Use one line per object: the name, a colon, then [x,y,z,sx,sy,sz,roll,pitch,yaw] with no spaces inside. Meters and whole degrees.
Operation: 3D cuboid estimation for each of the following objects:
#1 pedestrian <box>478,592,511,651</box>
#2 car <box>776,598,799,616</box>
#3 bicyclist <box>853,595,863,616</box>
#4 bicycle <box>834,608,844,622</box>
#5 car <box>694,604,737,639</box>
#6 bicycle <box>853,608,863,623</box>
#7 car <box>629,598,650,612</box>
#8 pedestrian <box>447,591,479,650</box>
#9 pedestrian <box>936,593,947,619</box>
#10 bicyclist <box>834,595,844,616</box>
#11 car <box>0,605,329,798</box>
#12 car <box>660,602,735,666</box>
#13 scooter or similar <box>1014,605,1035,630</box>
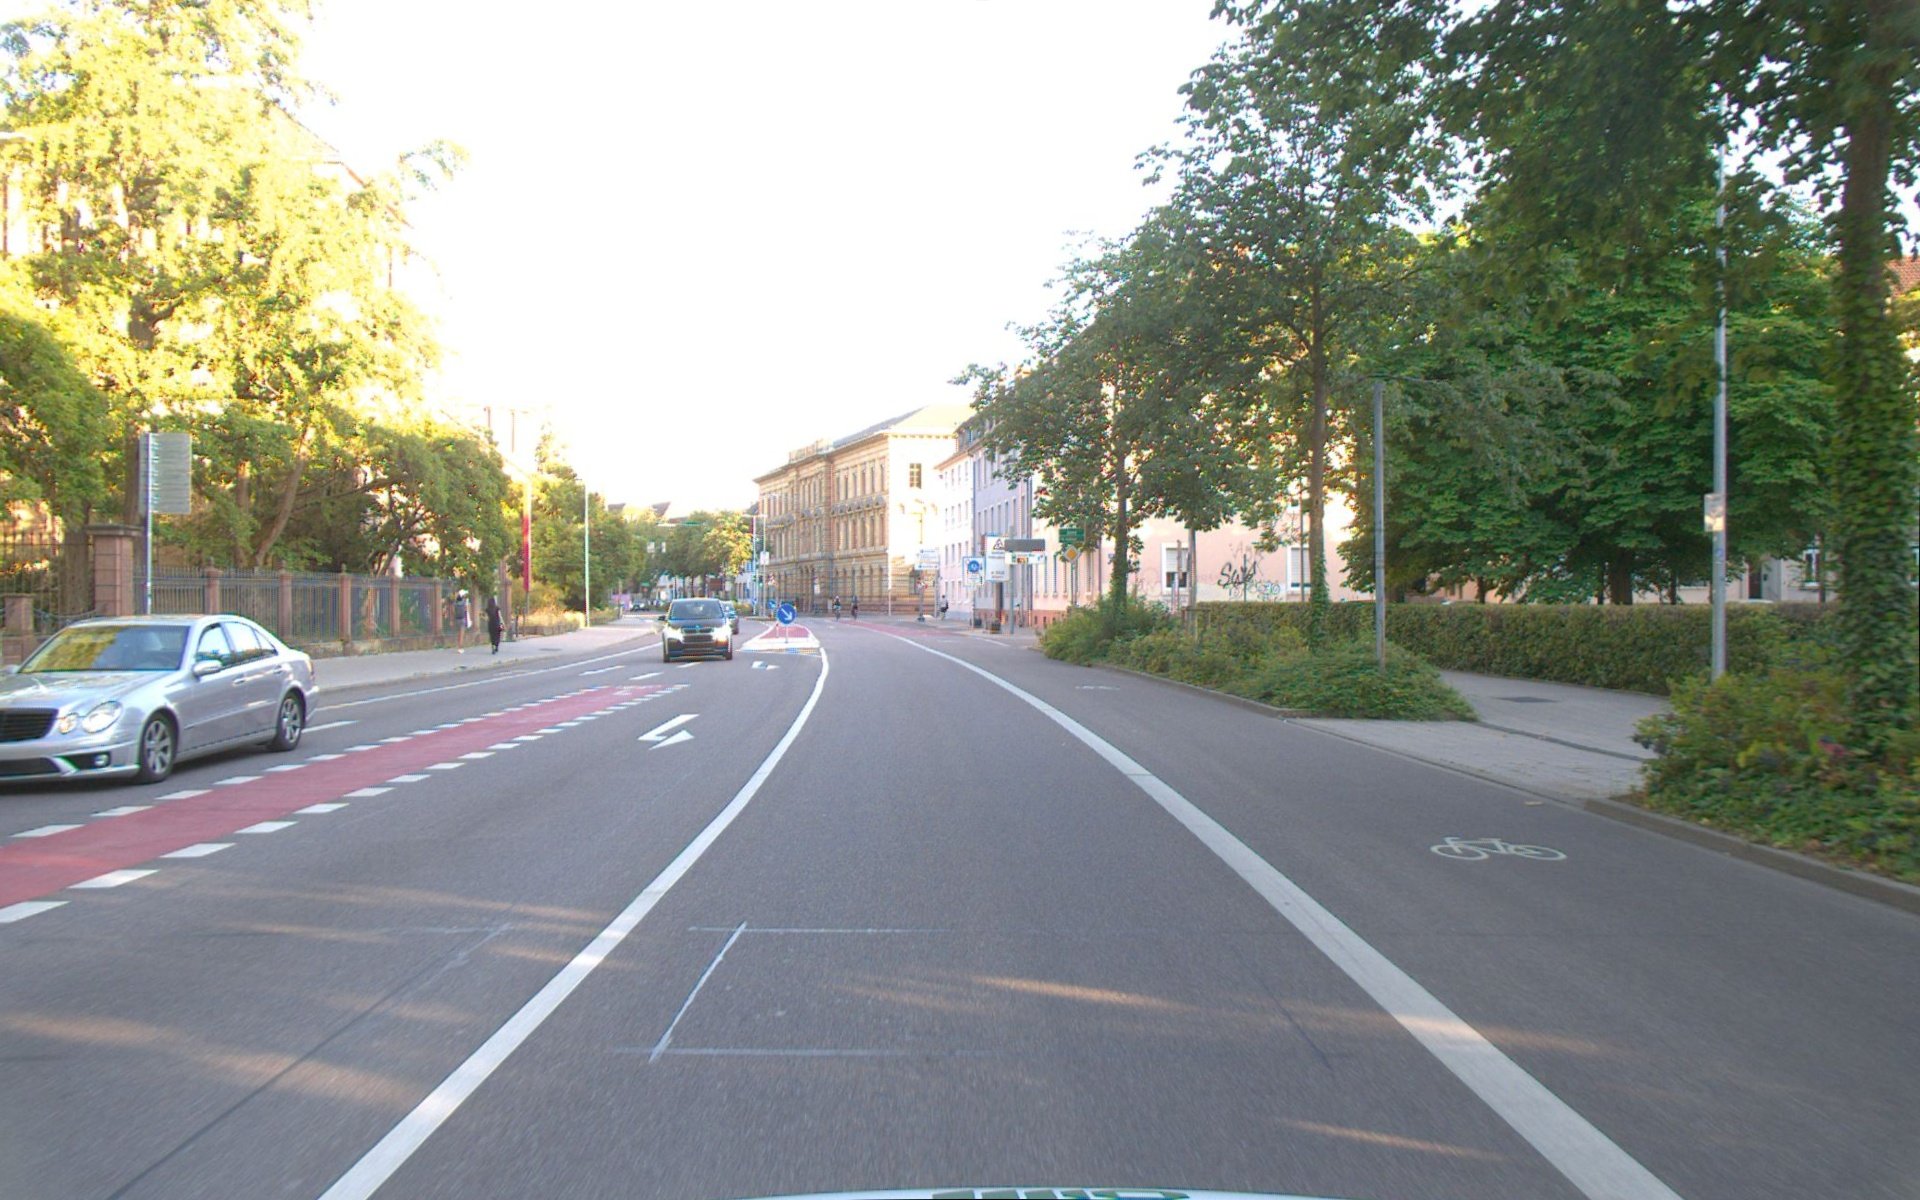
pedestrian: [-13.117,0.613,46.637,0.666,1.651,0.689,0,0,8]
car: [-15.027,0.619,144.070,1.832,1.536,3.993,1,0,-7]
bicyclist: [-7.454,0.429,121.137,0.639,1.501,0.940,2,0,-4]
bicycle: [-8.876,1.103,121.203,0.639,1.033,2.196,2,0,-3]
car: [-10.944,0.949,73.748,1.802,1.464,3.991,-2,0,-9]
bicycle: [-7.472,1.112,121.129,0.639,1.033,2.196,2,0,-4]
car: [-37.083,0.621,191.321,1.955,1.613,3.996,0,0,-5]
pedestrian: [-14.031,0.583,46.684,0.666,1.651,0.689,0,0,3]
pedestrian: [-1.287,0.424,117.565,0.746,1.785,0.845,0,0,0]
bicyclist: [-8.844,0.397,121.190,0.639,1.471,0.879,2,0,-3]
car: [-7.643,0.816,15.230,1.877,1.442,4.769,-2,0,-1]
car: [-6.857,0.843,43.271,1.814,1.553,3.992,-1,0,-9]
scooter or similar: [3.432,0.929,88.399,0.618,1.360,2.394,0,0,-10]
